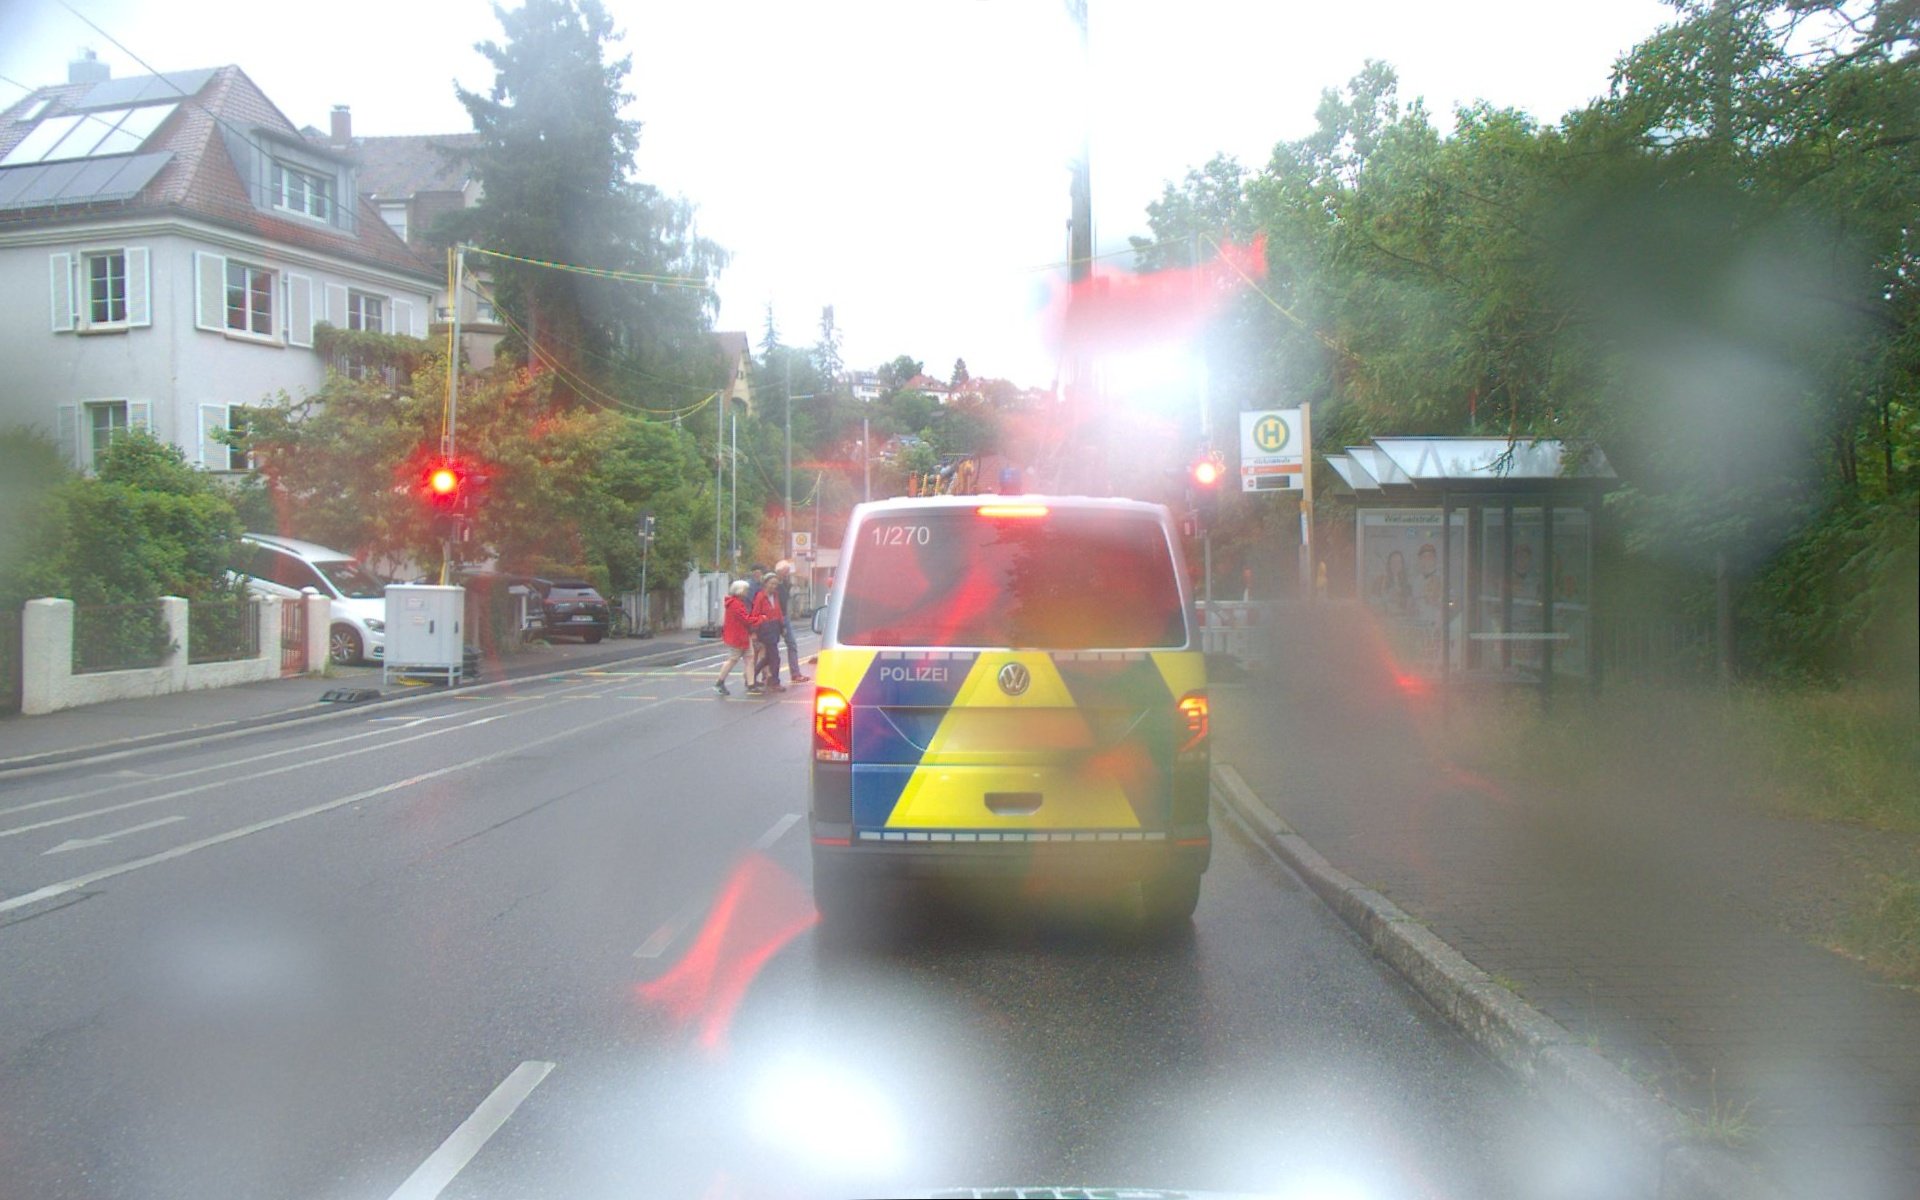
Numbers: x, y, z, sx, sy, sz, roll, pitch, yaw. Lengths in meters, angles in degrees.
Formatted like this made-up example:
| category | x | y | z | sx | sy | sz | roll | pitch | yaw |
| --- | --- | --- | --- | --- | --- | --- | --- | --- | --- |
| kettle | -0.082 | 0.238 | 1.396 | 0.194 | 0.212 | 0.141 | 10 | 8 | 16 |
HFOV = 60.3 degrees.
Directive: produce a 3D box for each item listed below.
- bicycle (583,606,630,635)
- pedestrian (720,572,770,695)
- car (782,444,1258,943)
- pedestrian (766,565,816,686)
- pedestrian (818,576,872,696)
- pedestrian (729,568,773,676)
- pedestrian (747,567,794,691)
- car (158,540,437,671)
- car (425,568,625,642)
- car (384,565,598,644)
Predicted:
| category | x | y | z | sx | sy | sz | roll | pitch | yaw |
| --- | --- | --- | --- | --- | --- | --- | --- | --- | --- |
| bicycle | -8.538 | 0.499 | 39.946 | 1.031 | 0.674 | 0.320 | 1 | -2 | 10 |
| pedestrian | -2.863 | 0.445 | 22.079 | 0.551 | 1.610 | 0.468 | 2 | -2 | 1 |
| car | 0.245 | 0.361 | 9.053 | 1.953 | 2.049 | 4.402 | 1 | 1 | 0 |
| pedestrian | -2.500 | 0.382 | 24.556 | 0.613 | 1.745 | 0.593 | 2 | -2 | 1 |
| pedestrian | -1.520 | 0.483 | 21.867 | 0.613 | 1.548 | 0.593 | 2 | -2 | 1 |
| pedestrian | -3.001 | 0.317 | 23.777 | 0.514 | 1.533 | 0.429 | 2 | -2 | 1 |
| pedestrian | -2.629 | 0.405 | 22.992 | 0.537 | 1.697 | 0.414 | 2 | -2 | 1 |
| car | -10.913 | 0.068 | 27.344 | 3.902 | 2.049 | 1.832 | 0 | 0 | 11 |
| car | -9.690 | 0.124 | 36.959 | 3.902 | 1.512 | 1.761 | 1 | -2 | 10 |
| car | -9.840 | 0.104 | 34.807 | 3.902 | 1.512 | 1.761 | 1 | -2 | 10 |
